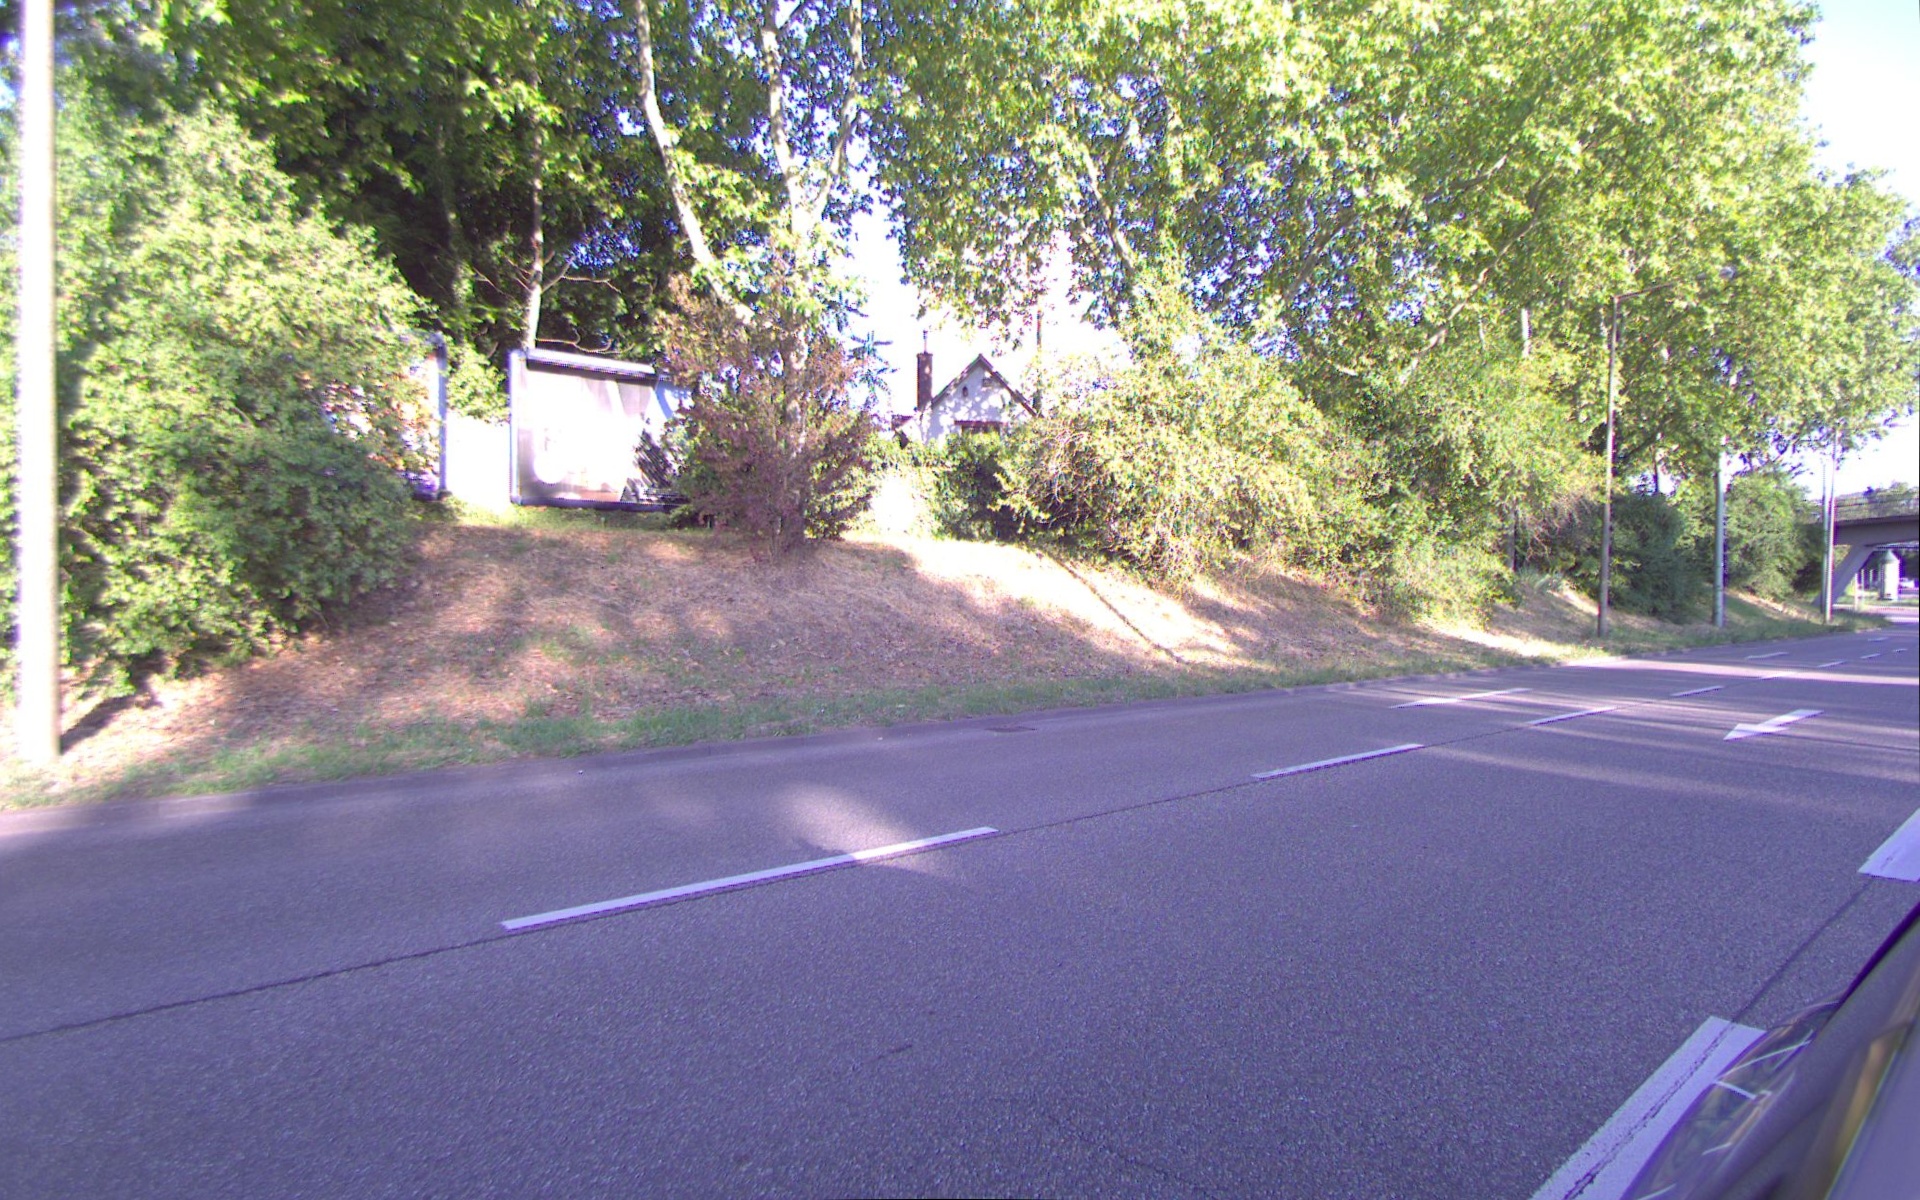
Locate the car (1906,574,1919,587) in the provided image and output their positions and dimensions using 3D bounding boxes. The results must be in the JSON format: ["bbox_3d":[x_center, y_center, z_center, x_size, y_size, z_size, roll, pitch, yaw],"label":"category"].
[{"bbox_3d":[138.940,-2.809,146.924,1.672,1.812,3.825,0,0,33],"label":"car"}]
